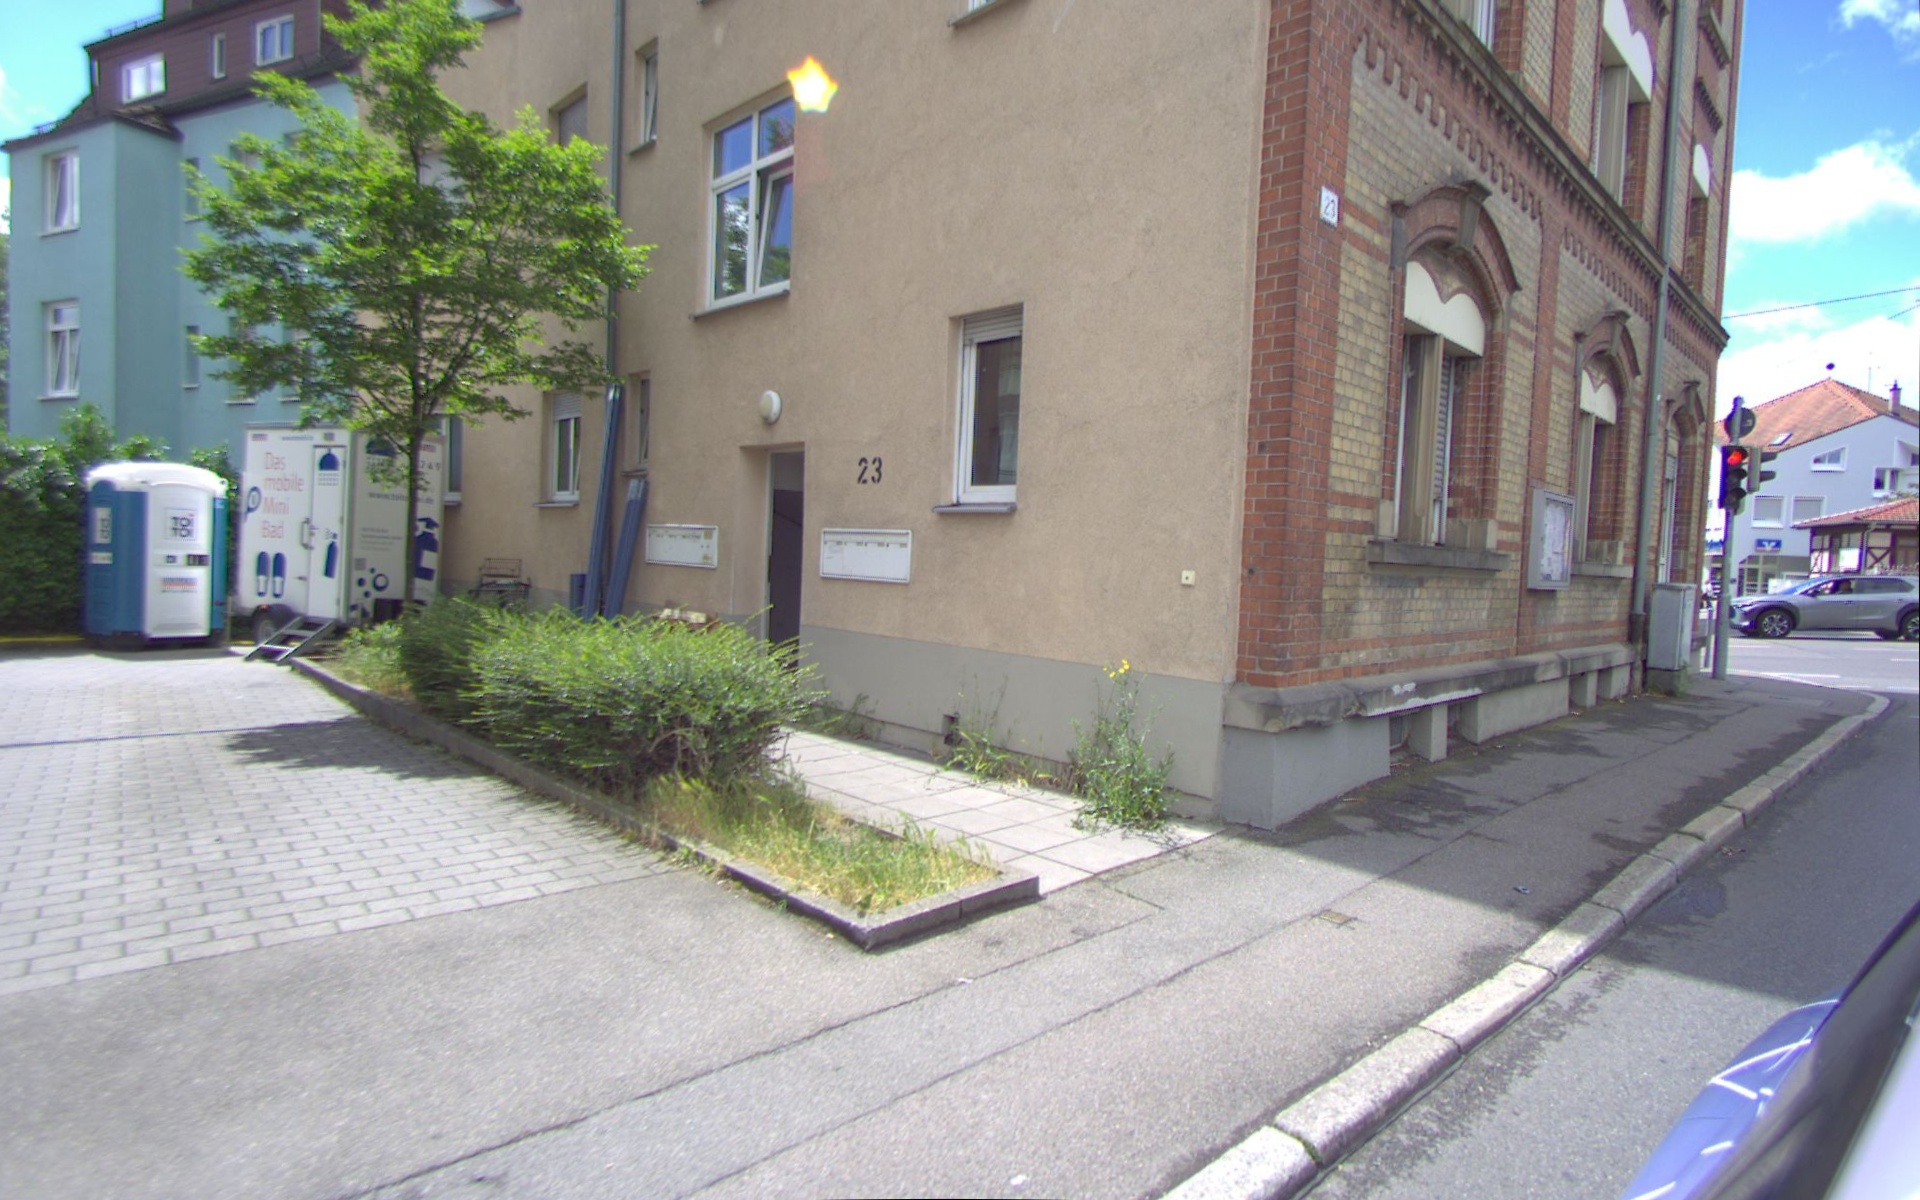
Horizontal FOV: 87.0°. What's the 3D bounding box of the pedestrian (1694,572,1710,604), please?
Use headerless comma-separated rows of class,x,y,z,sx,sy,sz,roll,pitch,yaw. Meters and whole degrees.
pedestrian,37.839,-0.600,51.592,0.565,1.616,0.753,-1,0,41

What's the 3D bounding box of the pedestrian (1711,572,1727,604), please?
pedestrian,38.385,-0.619,51.155,0.608,1.616,0.715,-1,0,36

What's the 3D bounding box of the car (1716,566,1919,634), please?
car,22.160,-0.036,25.123,5.041,1.597,1.984,1,1,24

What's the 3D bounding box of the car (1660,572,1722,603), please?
car,38.878,-0.668,53.913,1.980,1.560,3.964,-1,1,26
